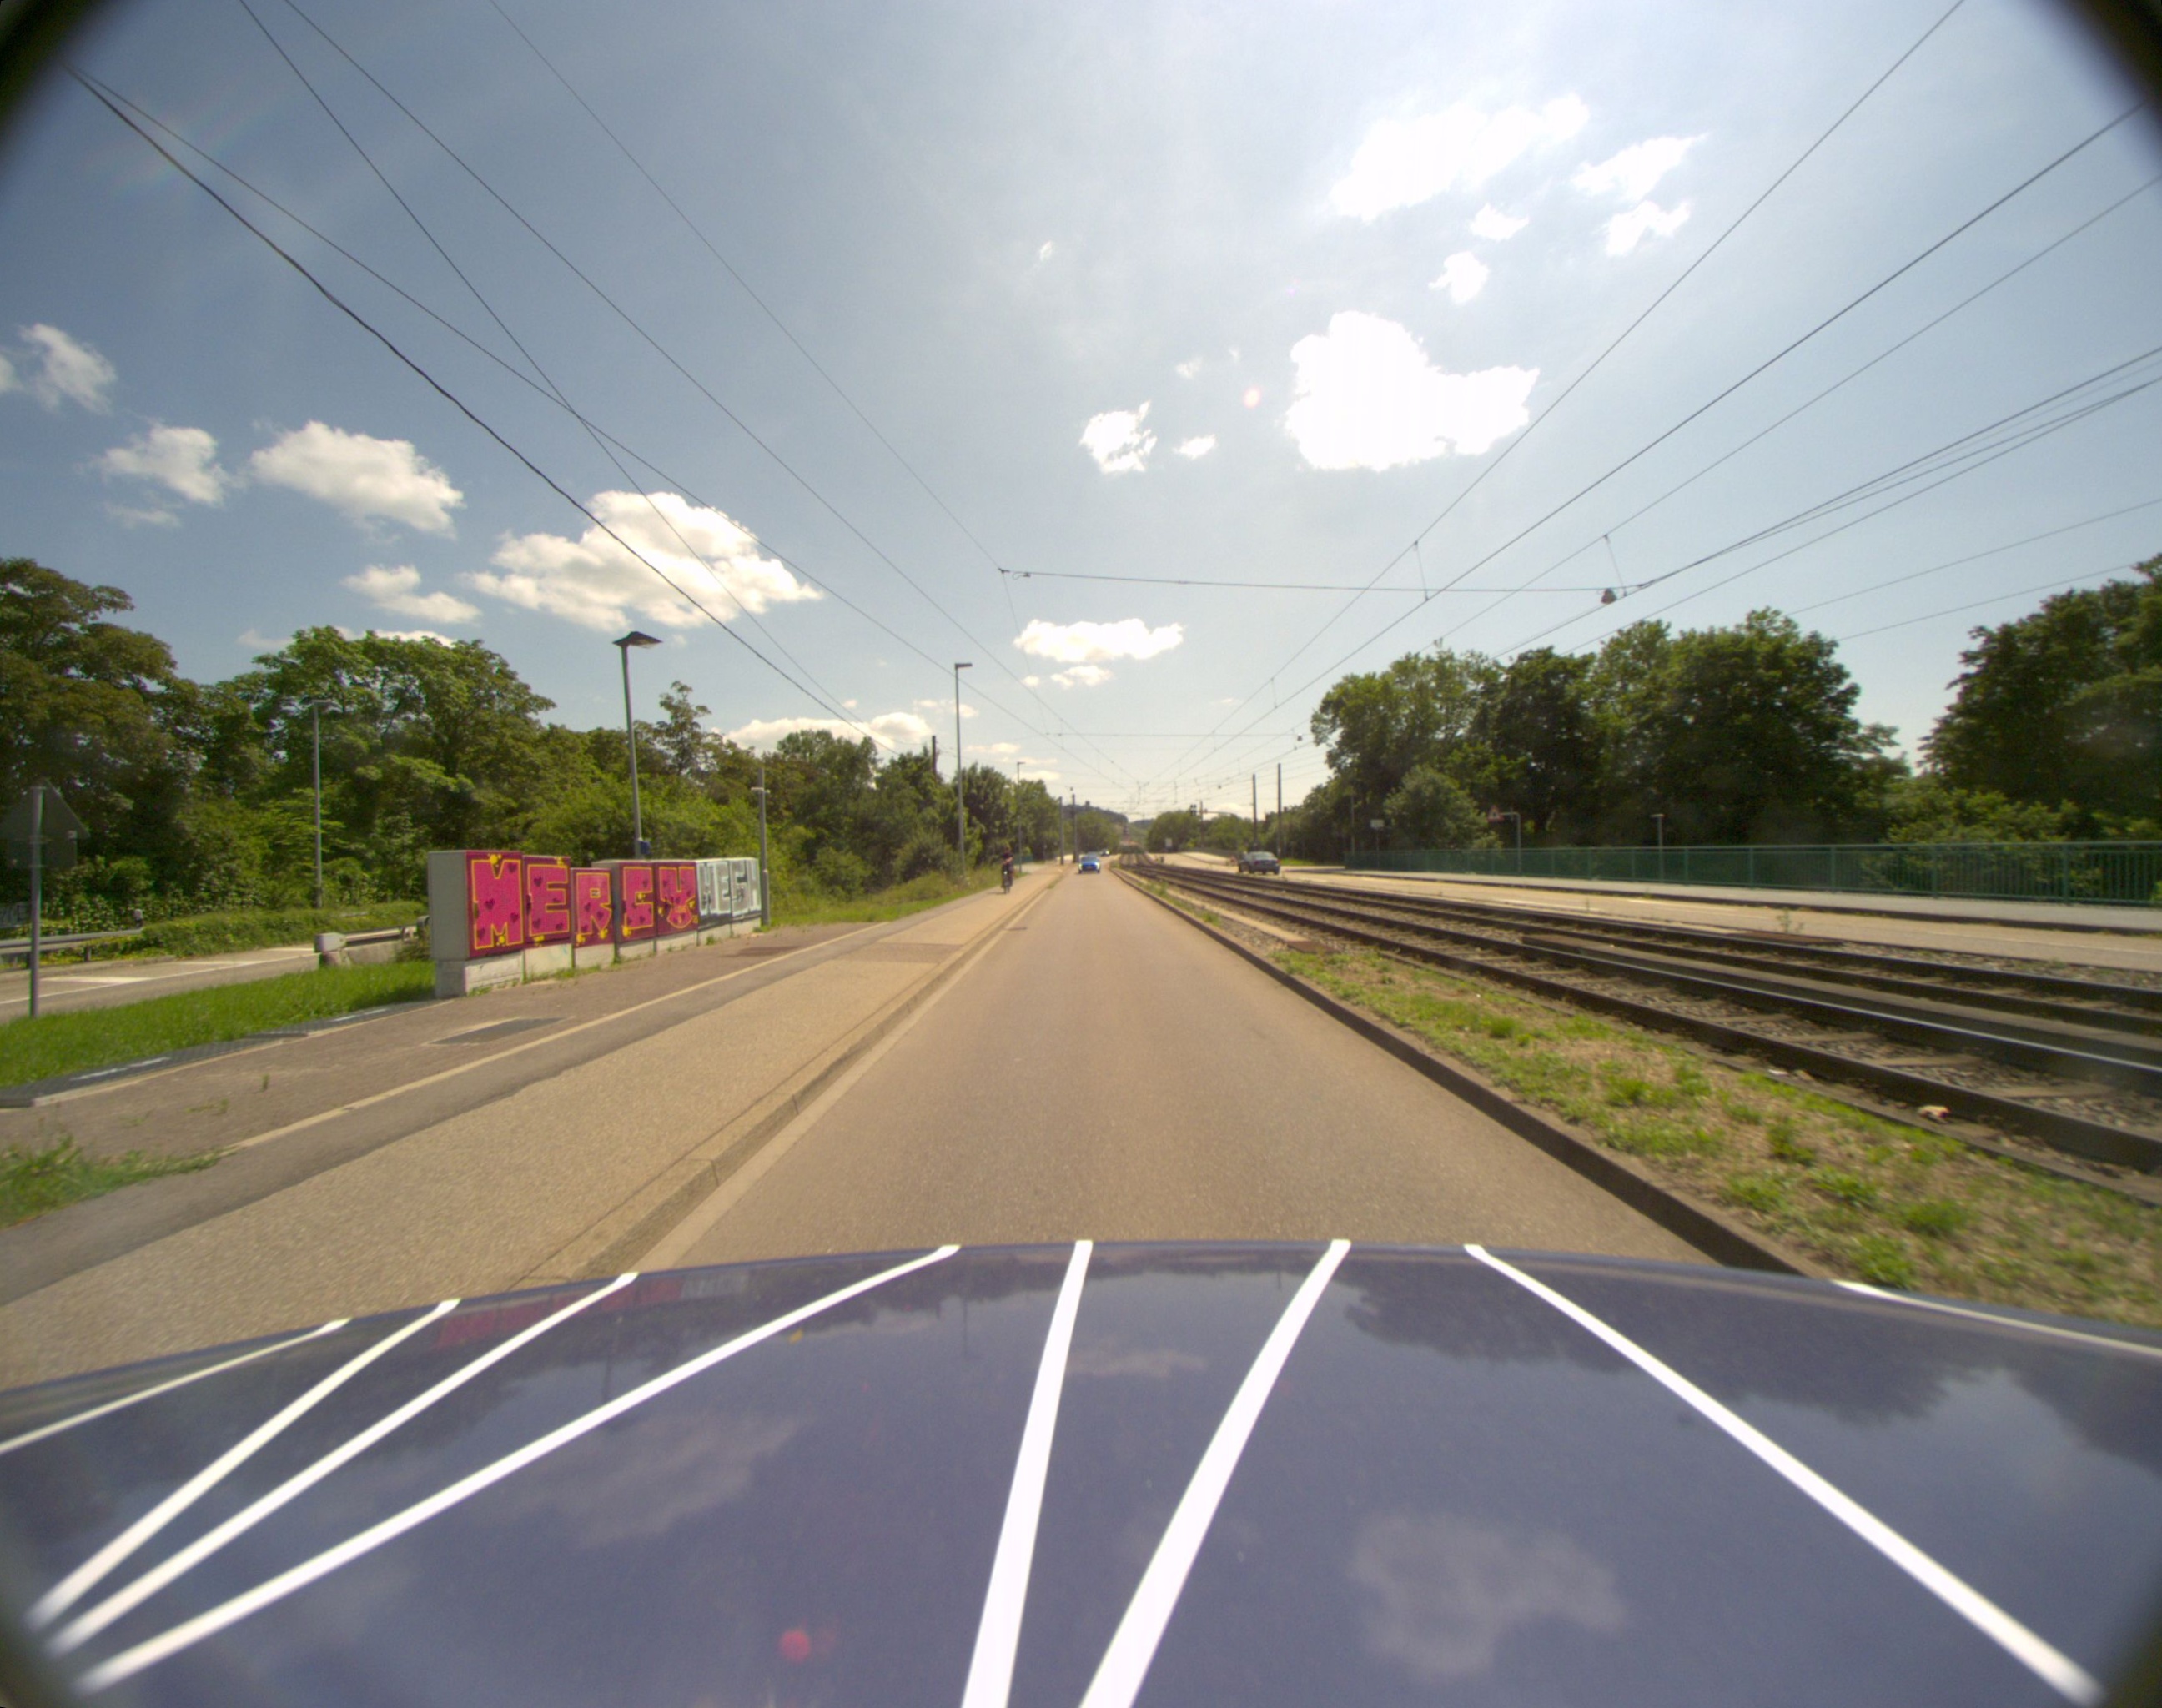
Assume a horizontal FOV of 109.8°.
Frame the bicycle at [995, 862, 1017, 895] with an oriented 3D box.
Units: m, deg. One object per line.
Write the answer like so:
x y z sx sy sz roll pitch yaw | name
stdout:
-2.780 0.902 28.279 0.433 1.145 1.856 -2 -1 5 | bicycle

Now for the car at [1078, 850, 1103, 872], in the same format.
0.745 0.583 61.765 1.865 1.630 4.000 -2 -1 -1 | car

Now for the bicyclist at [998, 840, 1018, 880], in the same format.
-2.769 0.233 28.763 0.586 1.486 0.558 -2 -1 5 | bicyclist

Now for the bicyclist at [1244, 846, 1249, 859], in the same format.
18.687 -0.128 85.870 0.457 1.465 0.633 -1 1 3 | bicyclist

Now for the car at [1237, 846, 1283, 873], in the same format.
12.133 0.323 51.871 1.880 1.710 5.330 -2 0 0 | car

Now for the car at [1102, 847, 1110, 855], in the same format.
5.312 -0.564 161.850 1.730 1.696 4.001 -2 0 2 | car

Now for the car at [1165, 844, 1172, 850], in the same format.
23.608 -1.831 204.941 1.708 1.501 3.734 0 1 5 | car

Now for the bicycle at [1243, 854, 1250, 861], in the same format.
18.711 0.388 85.893 0.470 0.863 1.743 -1 1 3 | bicycle
